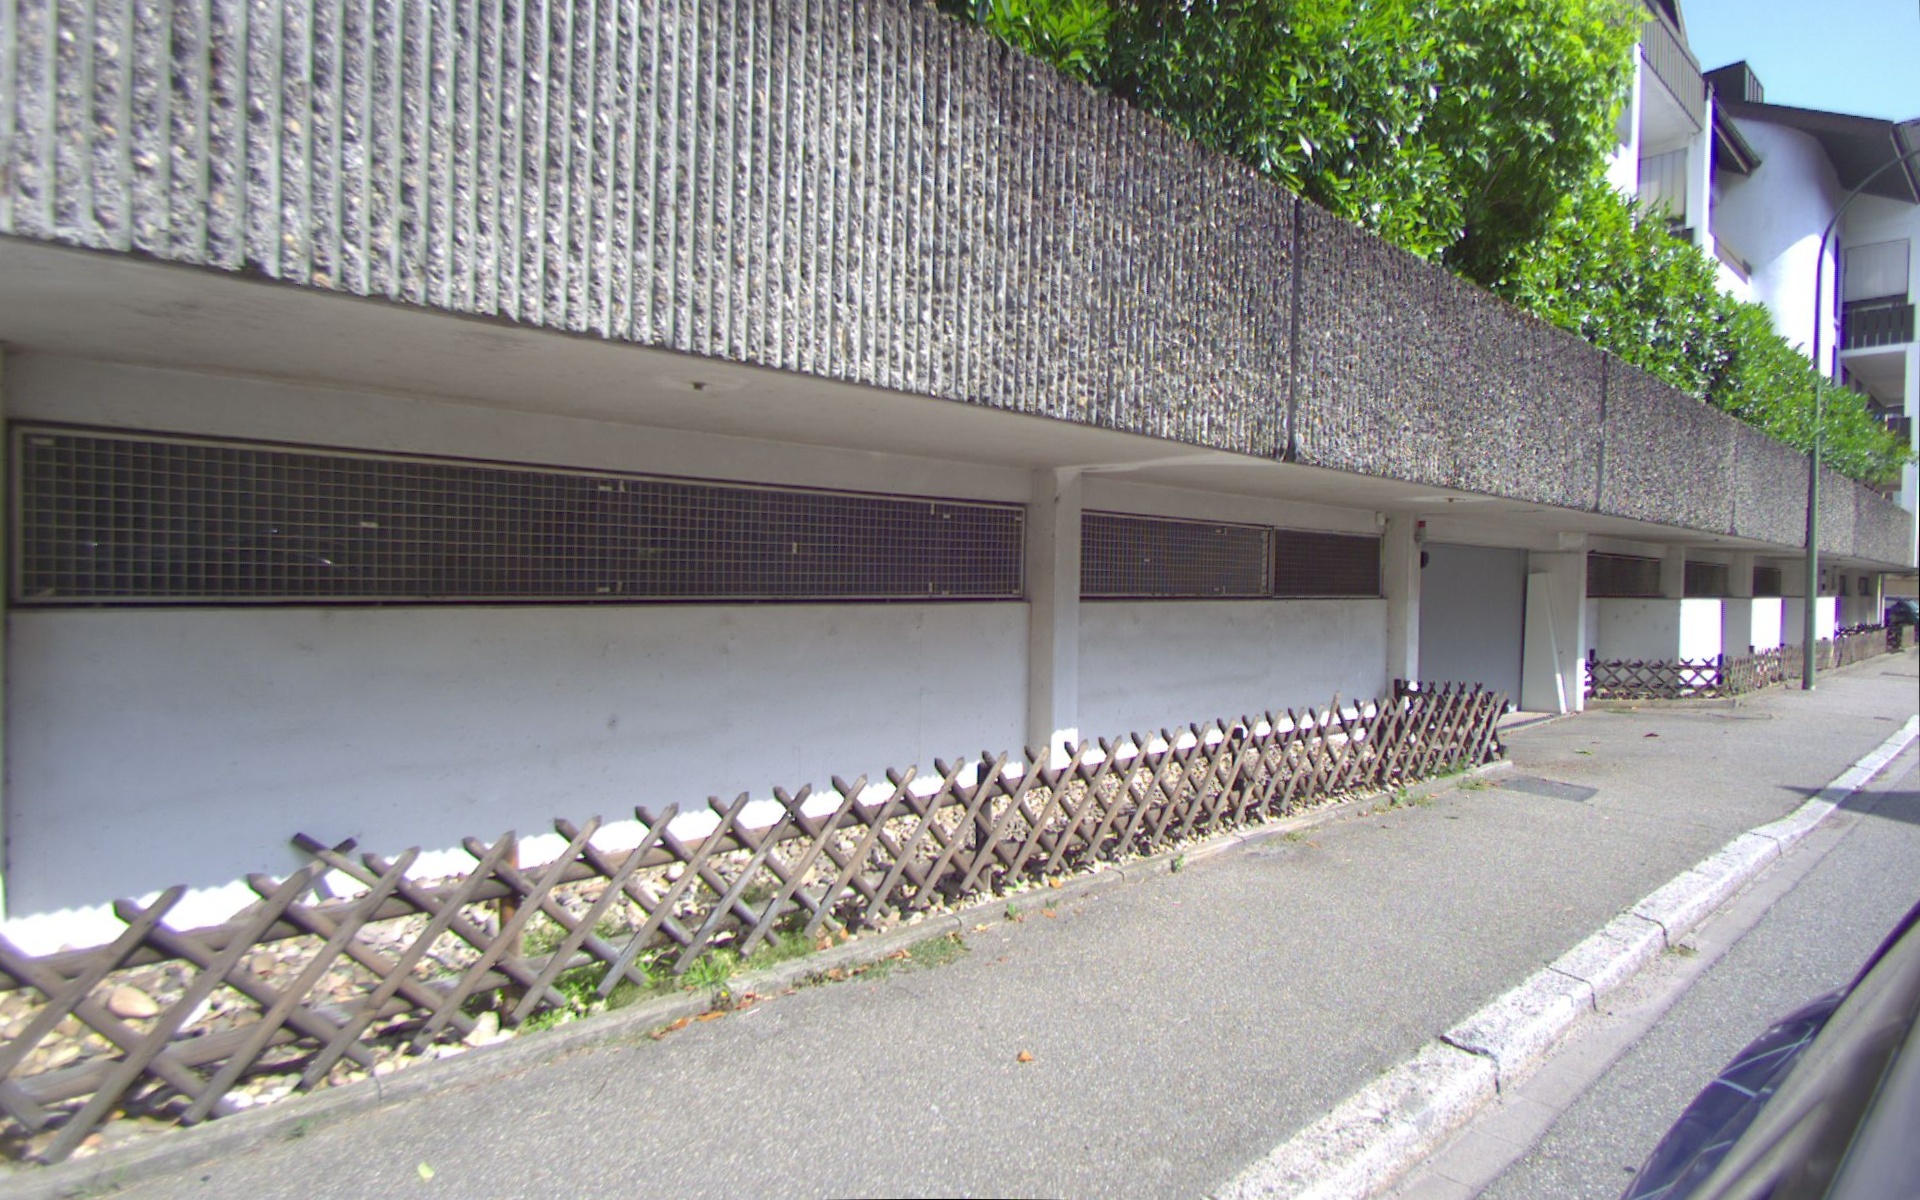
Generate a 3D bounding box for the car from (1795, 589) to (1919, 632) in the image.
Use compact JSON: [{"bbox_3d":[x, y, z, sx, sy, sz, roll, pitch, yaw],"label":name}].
[{"bbox_3d":[33.297,0.377,37.203,1.672,1.498,3.830,1,-1,-43],"label":"car"}]
